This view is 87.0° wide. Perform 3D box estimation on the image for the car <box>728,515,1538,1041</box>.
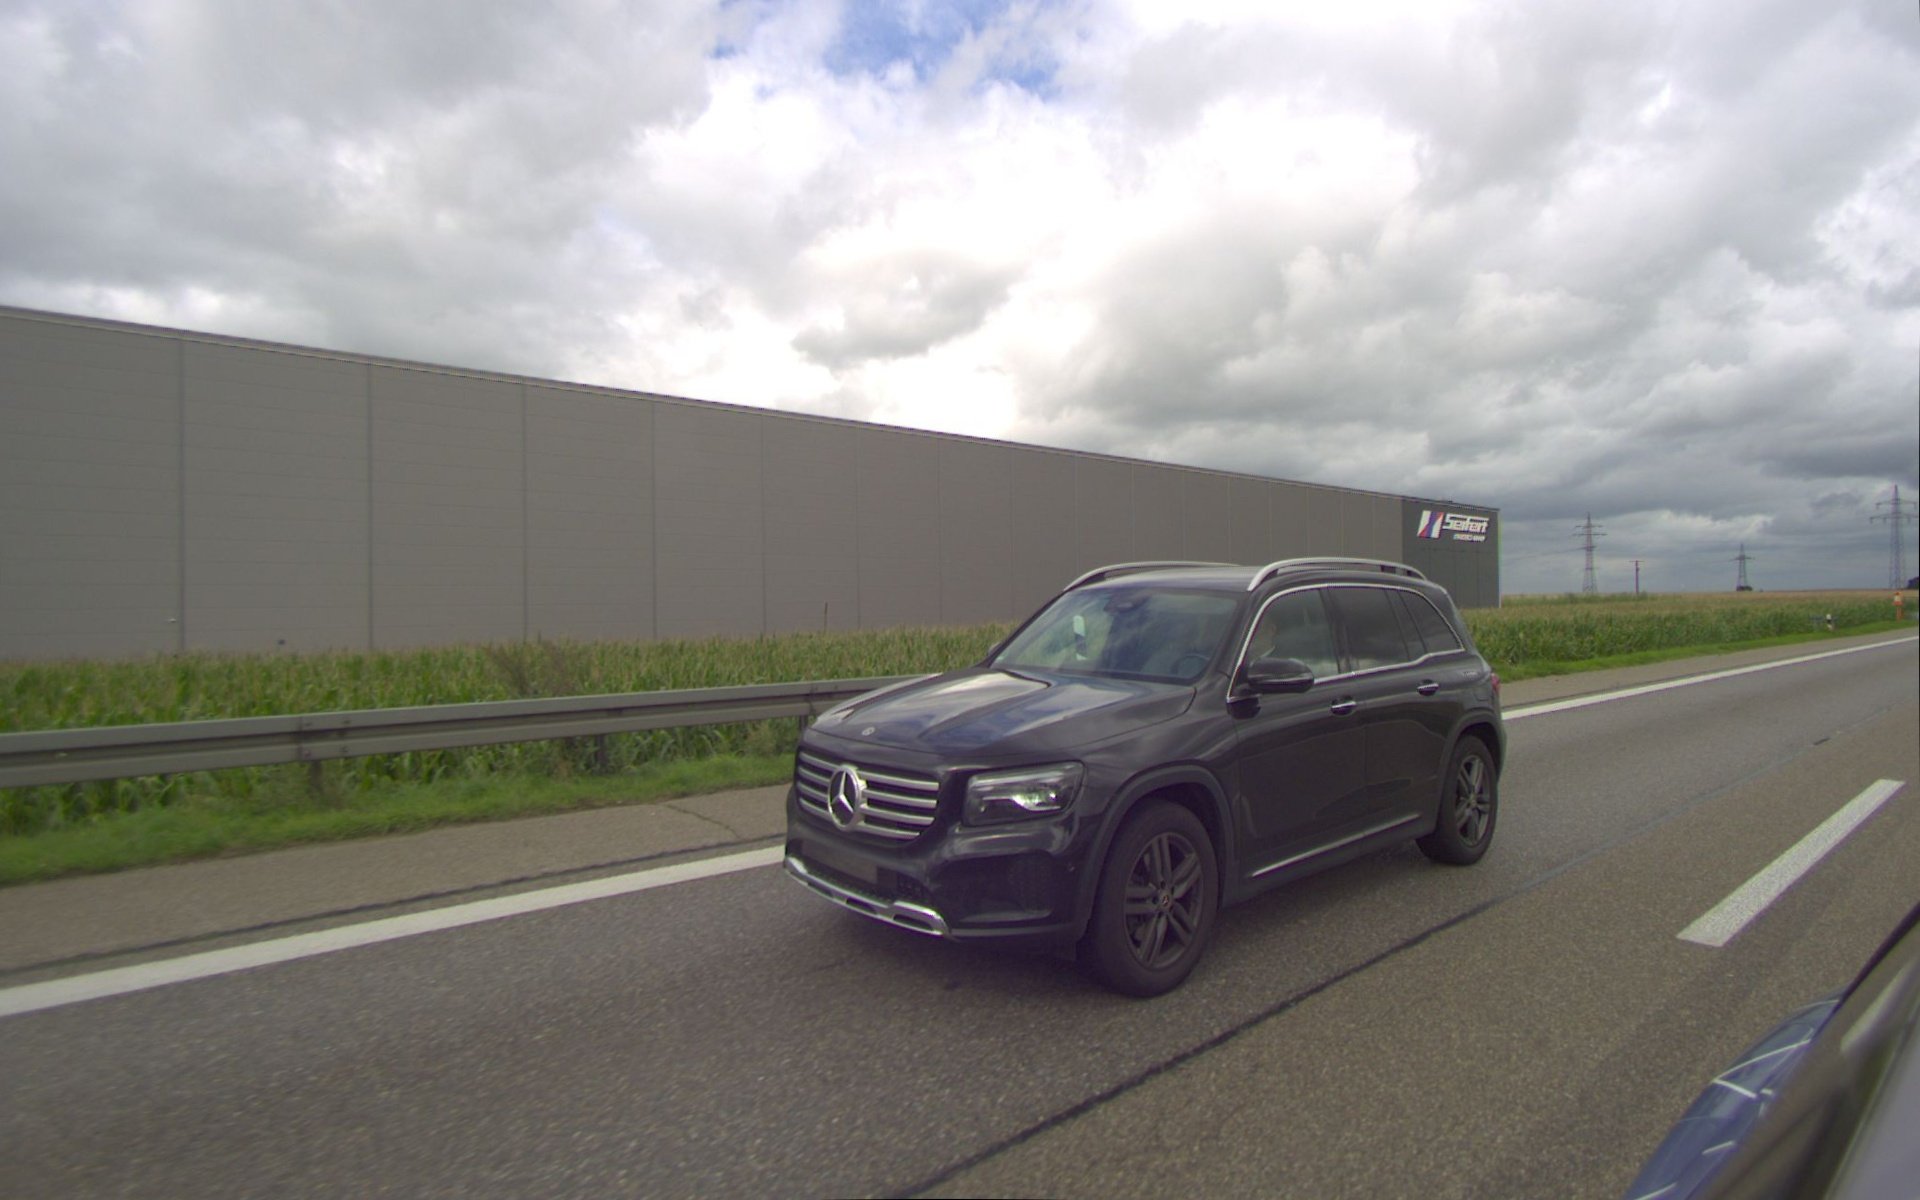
[{"bbox_3d":[1.169,0.516,5.238,4.284,1.629,1.837,-1,1,-41],"label":"car"}]
